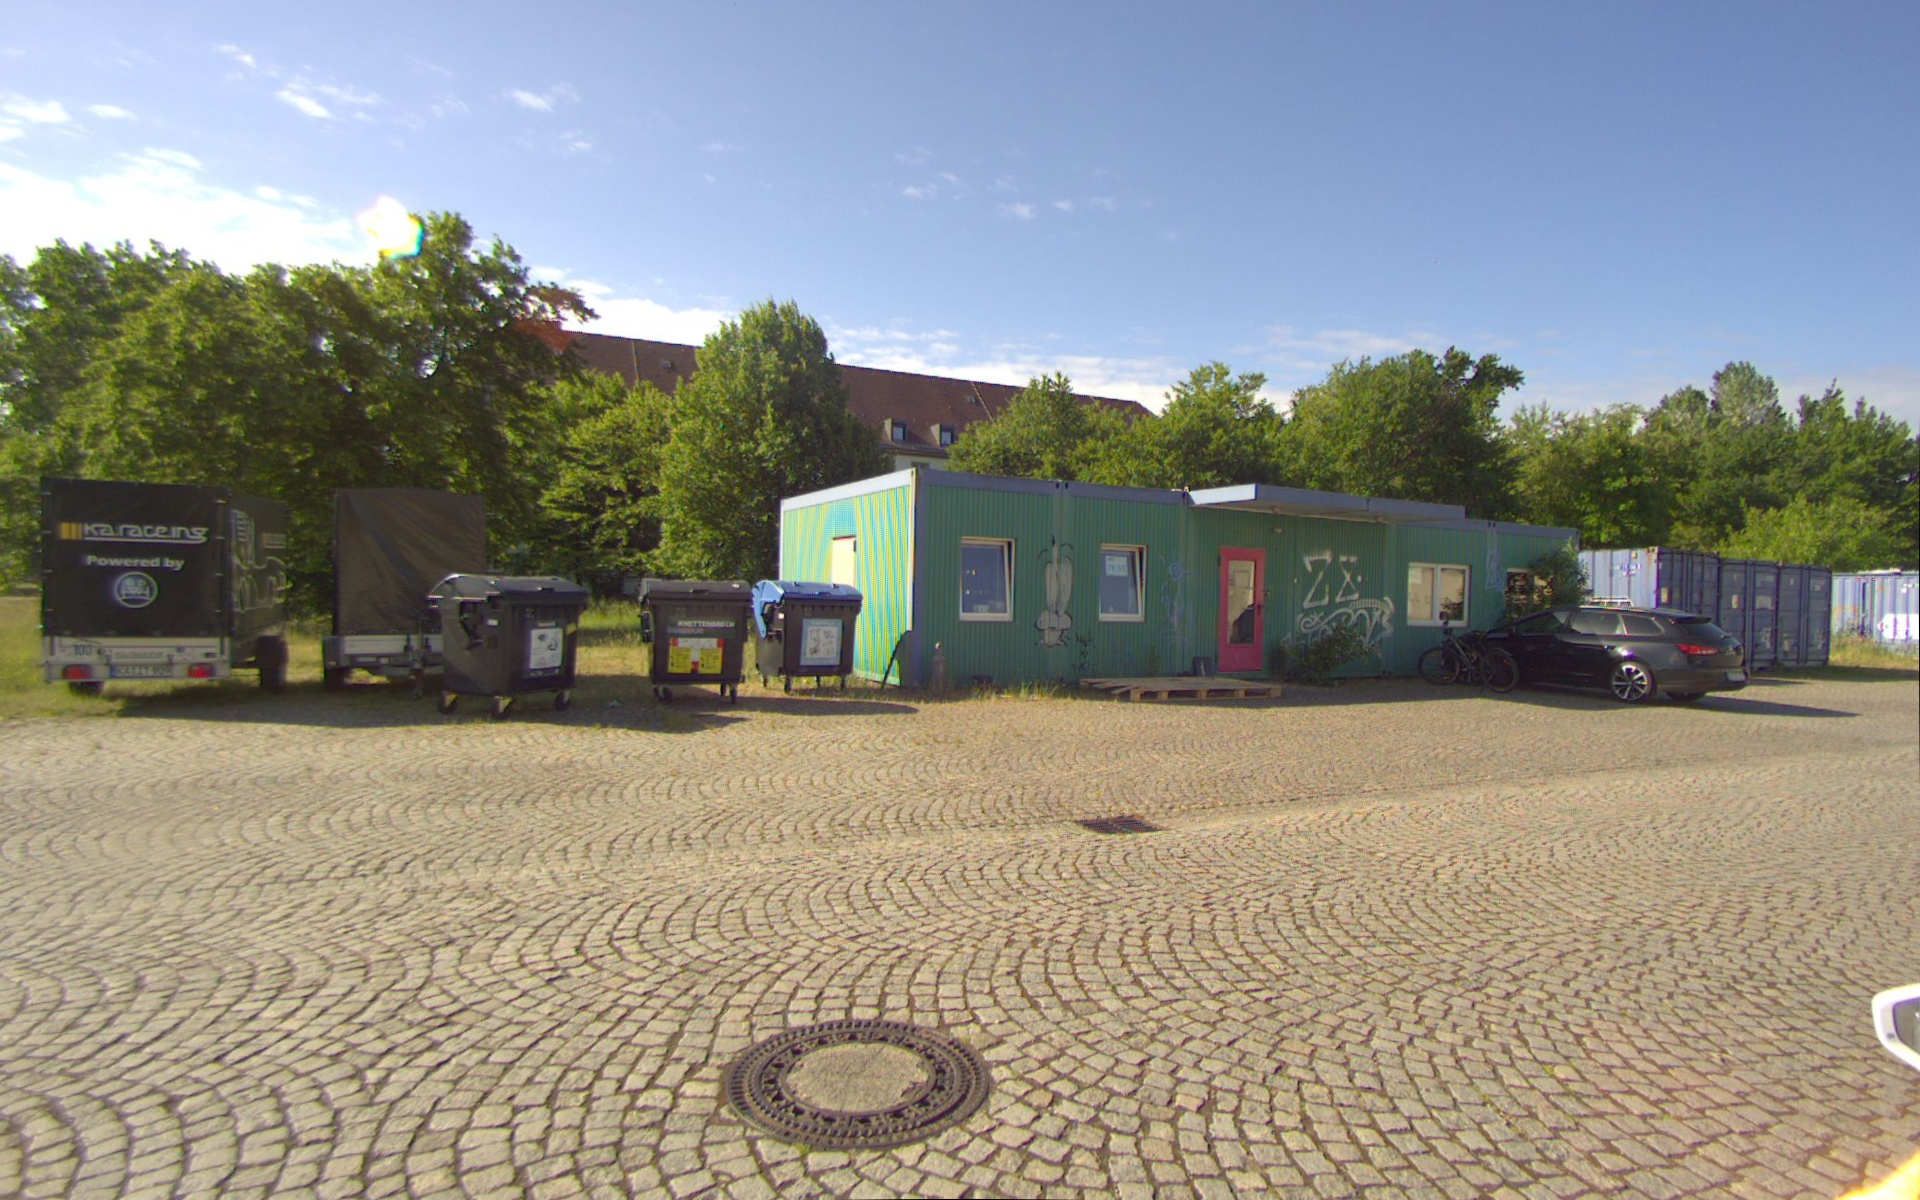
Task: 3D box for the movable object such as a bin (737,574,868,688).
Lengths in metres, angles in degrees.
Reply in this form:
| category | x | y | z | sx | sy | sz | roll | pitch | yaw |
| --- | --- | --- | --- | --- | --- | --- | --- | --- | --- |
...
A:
| category | x | y | z | sx | sy | sz | roll | pitch | yaw |
| --- | --- | --- | --- | --- | --- | --- | --- | --- | --- |
| movable object such as a bin | -2.130 | 0.395 | 13.590 | 1.396 | 1.456 | 1.077 | 1 | 1 | -38 |

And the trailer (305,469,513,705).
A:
| category | x | y | z | sx | sy | sz | roll | pitch | yaw |
| --- | --- | --- | --- | --- | --- | --- | --- | --- | --- |
| trailer | -7.083 | -0.188 | 12.872 | 1.920 | 2.423 | 4.815 | 1 | 1 | -30 |

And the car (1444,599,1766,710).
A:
| category | x | y | z | sx | sy | sz | roll | pitch | yaw |
| --- | --- | --- | --- | --- | --- | --- | --- | --- | --- |
| car | 10.245 | 0.777 | 16.281 | 1.712 | 1.432 | 4.029 | 1 | 1 | -30 |

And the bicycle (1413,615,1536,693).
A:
| category | x | y | z | sx | sy | sz | roll | pitch | yaw |
| --- | --- | --- | --- | --- | --- | --- | --- | --- | --- |
| bicycle | 8.367 | 0.851 | 16.408 | 0.664 | 1.116 | 1.702 | 1 | 2 | -25 |

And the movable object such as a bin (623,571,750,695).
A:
| category | x | y | z | sx | sy | sz | roll | pitch | yaw |
| --- | --- | --- | --- | --- | --- | --- | --- | --- | --- |
| movable object such as a bin | -3.314 | 0.383 | 12.112 | 1.349 | 1.404 | 1.078 | 1 | 1 | -22 |

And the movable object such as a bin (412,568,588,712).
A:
| category | x | y | z | sx | sy | sz | roll | pitch | yaw |
| --- | --- | --- | --- | --- | --- | --- | --- | --- | --- |
| movable object such as a bin | -4.858 | 0.394 | 10.690 | 1.027 | 1.404 | 1.364 | 1 | 1 | 22 |

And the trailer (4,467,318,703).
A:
| category | x | y | z | sx | sy | sz | roll | pitch | yaw |
| --- | --- | --- | --- | --- | --- | --- | --- | --- | --- |
| trailer | -9.390 | -0.198 | 12.276 | 1.987 | 2.303 | 4.439 | 1 | 1 | -25 |
